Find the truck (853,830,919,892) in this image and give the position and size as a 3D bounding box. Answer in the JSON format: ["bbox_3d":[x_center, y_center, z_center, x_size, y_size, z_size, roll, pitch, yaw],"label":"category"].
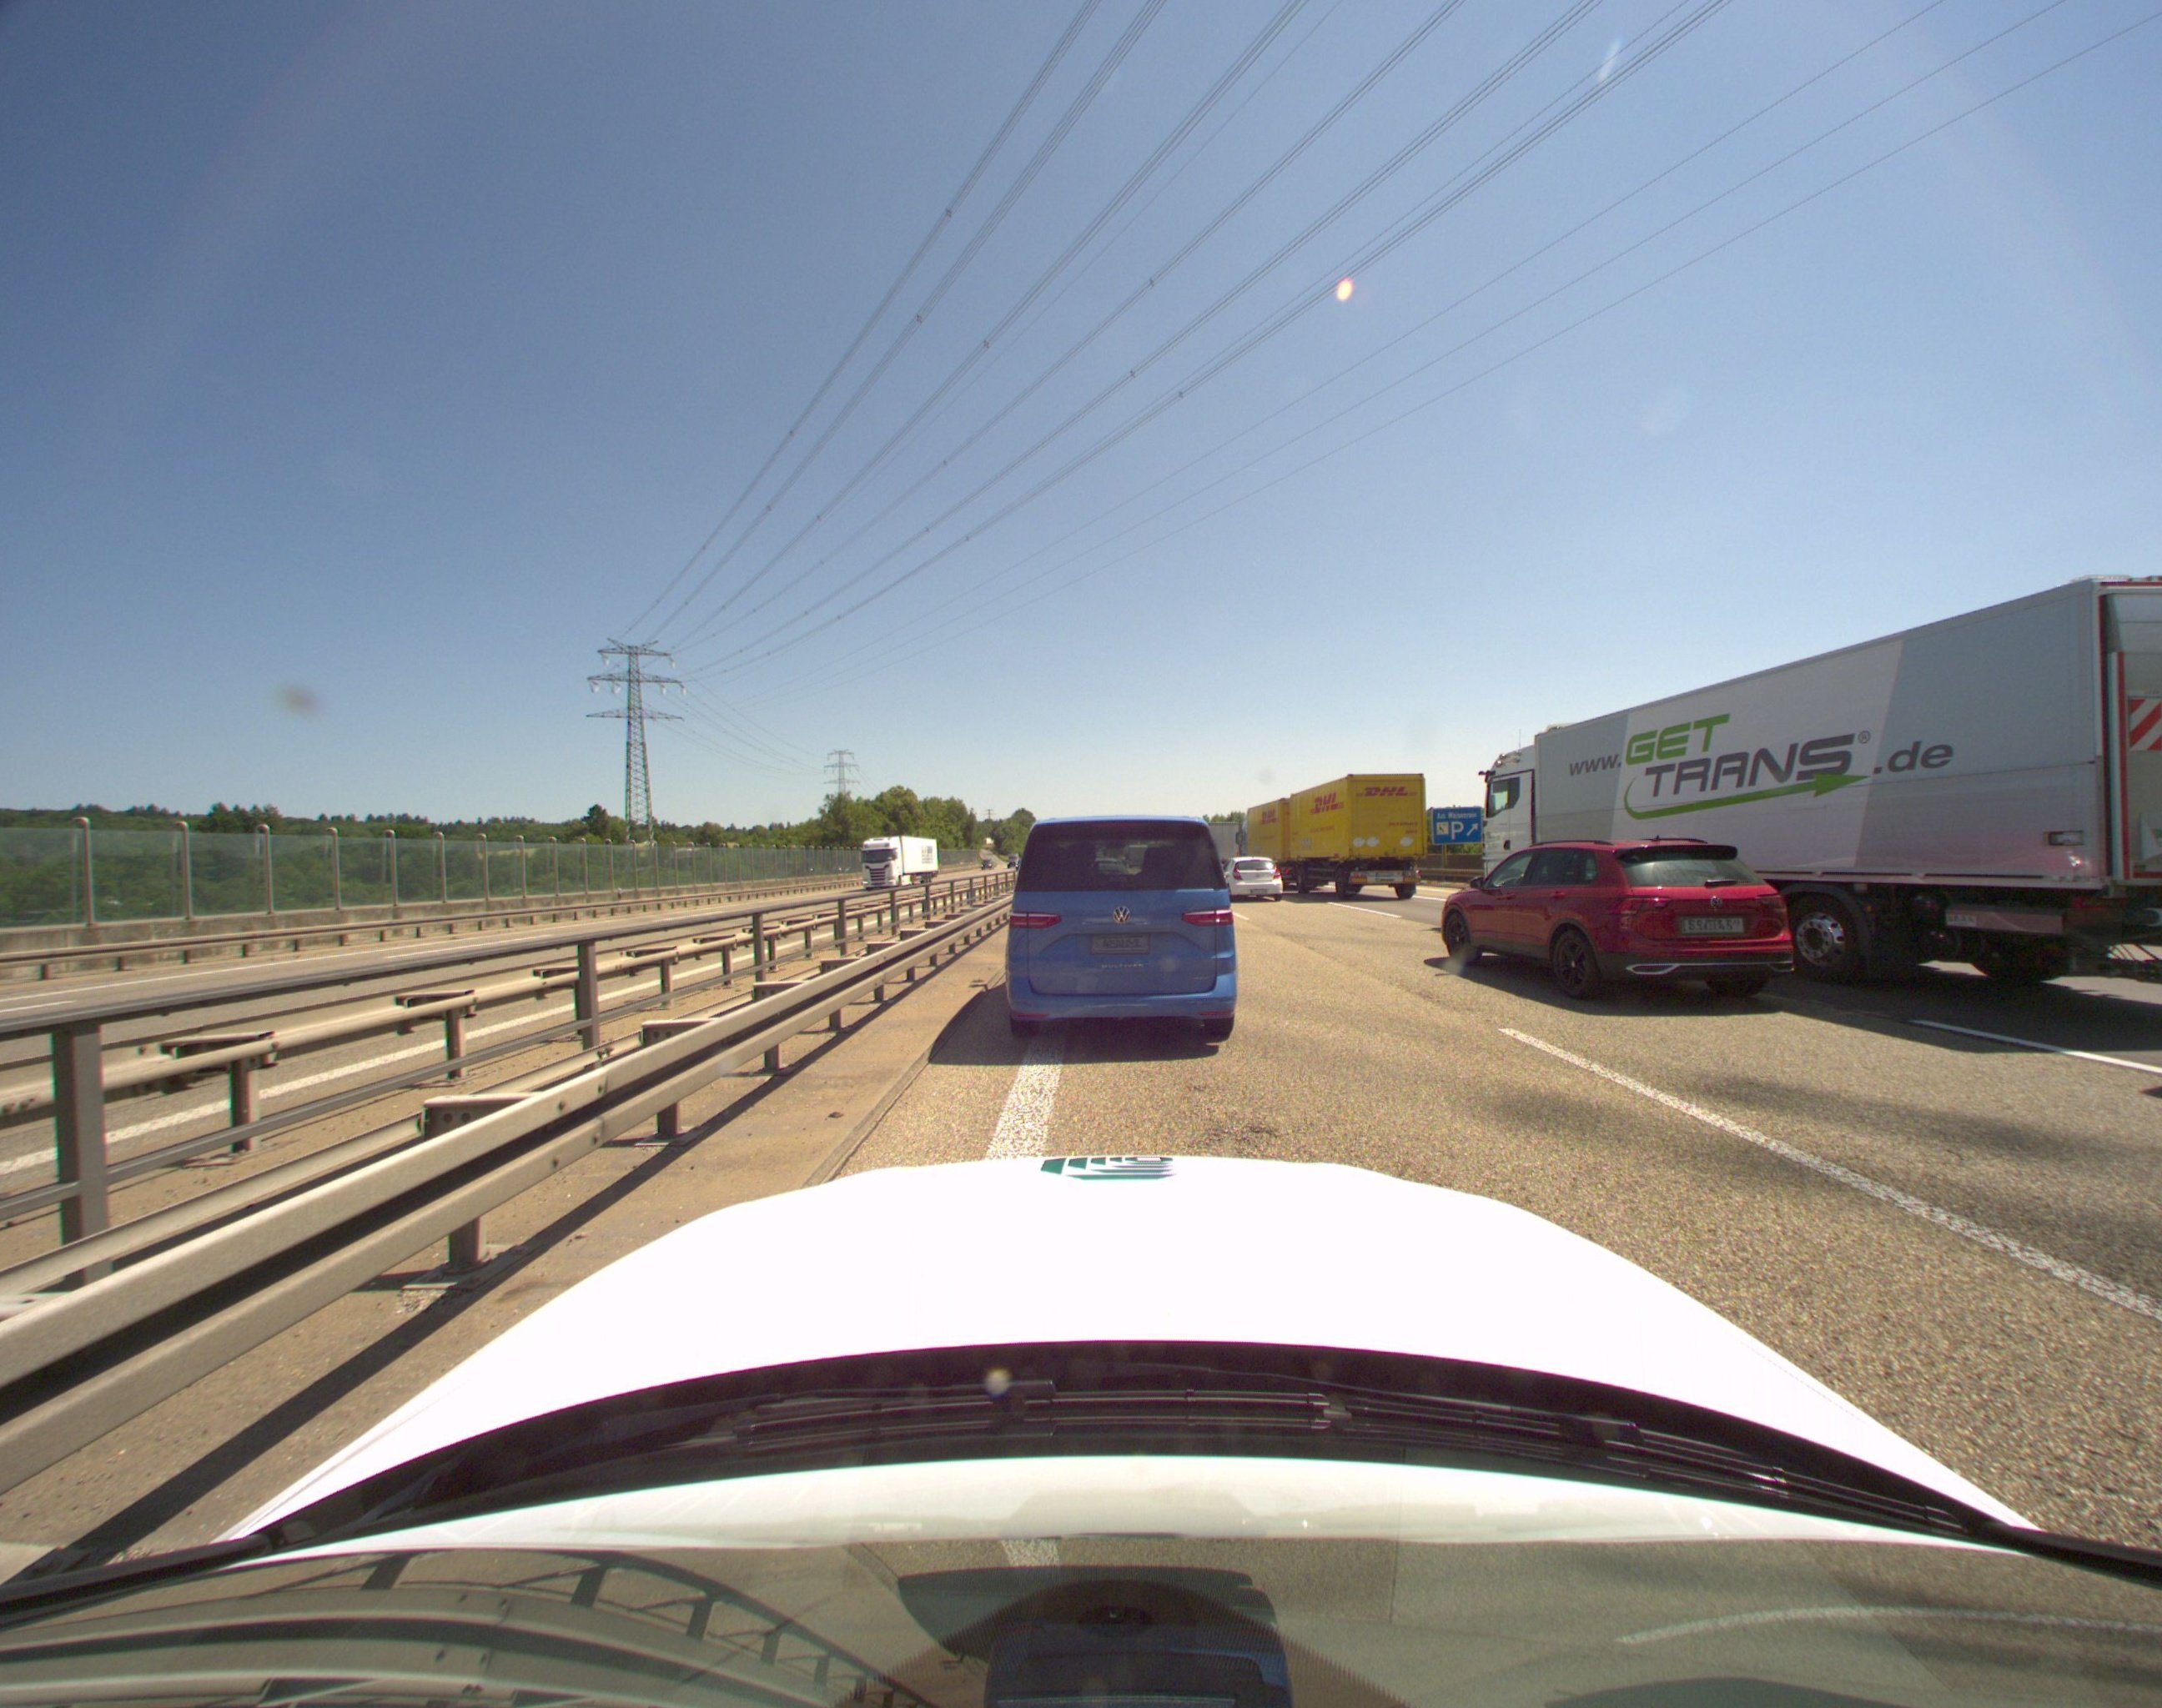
[{"bbox_3d":[-14.970,0.558,63.006,2.917,4.293,6.861,-4,-1,2],"label":"truck"}]

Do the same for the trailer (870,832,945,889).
[{"bbox_3d":[-14.668,0.622,70.391,2.895,4.307,13.667,-3,-1,2],"label":"trailer"}]

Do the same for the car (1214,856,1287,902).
[{"bbox_3d":[5.772,0.817,28.180,1.808,1.470,3.933,0,-1,2],"label":"car"}]

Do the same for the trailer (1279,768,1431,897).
[{"bbox_3d":[9.788,-0.628,30.340,2.674,4.088,8.979,0,-1,0],"label":"trailer"}]

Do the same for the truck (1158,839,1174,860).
[{"bbox_3d":[10.569,-0.553,101.411,1.735,2.549,4.211,0,-1,2],"label":"truck"}]

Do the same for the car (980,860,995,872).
[{"bbox_3d":[-16.927,2.144,147.149,1.951,1.905,4.950,-3,-1,0],"label":"car"}]

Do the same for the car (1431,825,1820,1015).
[{"bbox_3d":[5.844,0.626,9.511,1.702,1.679,4.285,-1,-1,1],"label":"car"}]

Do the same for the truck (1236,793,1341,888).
[{"bbox_3d":[9.855,-0.510,39.875,2.690,4.088,9.939,0,-1,1],"label":"truck"}]

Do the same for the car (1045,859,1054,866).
[{"bbox_3d":[-8.536,2.275,217.697,1.986,1.544,4.387,-3,-1,2],"label":"car"}]

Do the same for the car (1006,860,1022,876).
[{"bbox_3d":[-11.974,2.520,145.678,1.987,2.582,6.650,-4,-1,0],"label":"car"}]

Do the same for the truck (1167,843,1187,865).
[{"bbox_3d":[10.931,0.001,92.979,1.791,2.449,4.506,0,-1,2],"label":"truck"}]

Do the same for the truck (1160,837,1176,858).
[{"bbox_3d":[11.419,-0.858,106.811,1.790,2.596,4.307,0,-1,2],"label":"truck"}]

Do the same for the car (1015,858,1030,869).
[{"bbox_3d":[-8.970,1.480,125.229,1.765,1.491,4.607,-2,0,2],"label":"car"}]

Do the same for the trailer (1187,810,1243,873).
[{"bbox_3d":[10.515,-0.843,65.023,3.015,4.611,10.929,0,-1,2],"label":"trailer"}]

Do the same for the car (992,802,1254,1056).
[{"bbox_3d":[0.364,0.582,8.033,1.923,1.874,4.001,0,-1,1],"label":"car"}]

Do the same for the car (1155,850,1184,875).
[{"bbox_3d":[6.854,0.660,63.636,1.955,1.936,3.933,0,-1,1],"label":"car"}]

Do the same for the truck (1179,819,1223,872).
[{"bbox_3d":[10.867,-0.706,74.449,3.015,4.611,7.924,0,-1,2],"label":"truck"}]

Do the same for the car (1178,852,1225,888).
[{"bbox_3d":[5.795,0.764,39.519,1.808,1.679,3.933,0,-1,1],"label":"car"}]

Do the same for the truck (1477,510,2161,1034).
[{"bbox_3d":[9.456,-0.562,11.393,2.841,3.934,10.611,0,-1,1],"label":"truck"}]

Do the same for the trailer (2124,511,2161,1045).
[{"bbox_3d":[9.243,-0.616,2.003,2.888,3.891,8.215,0,-1,1],"label":"trailer"}]
